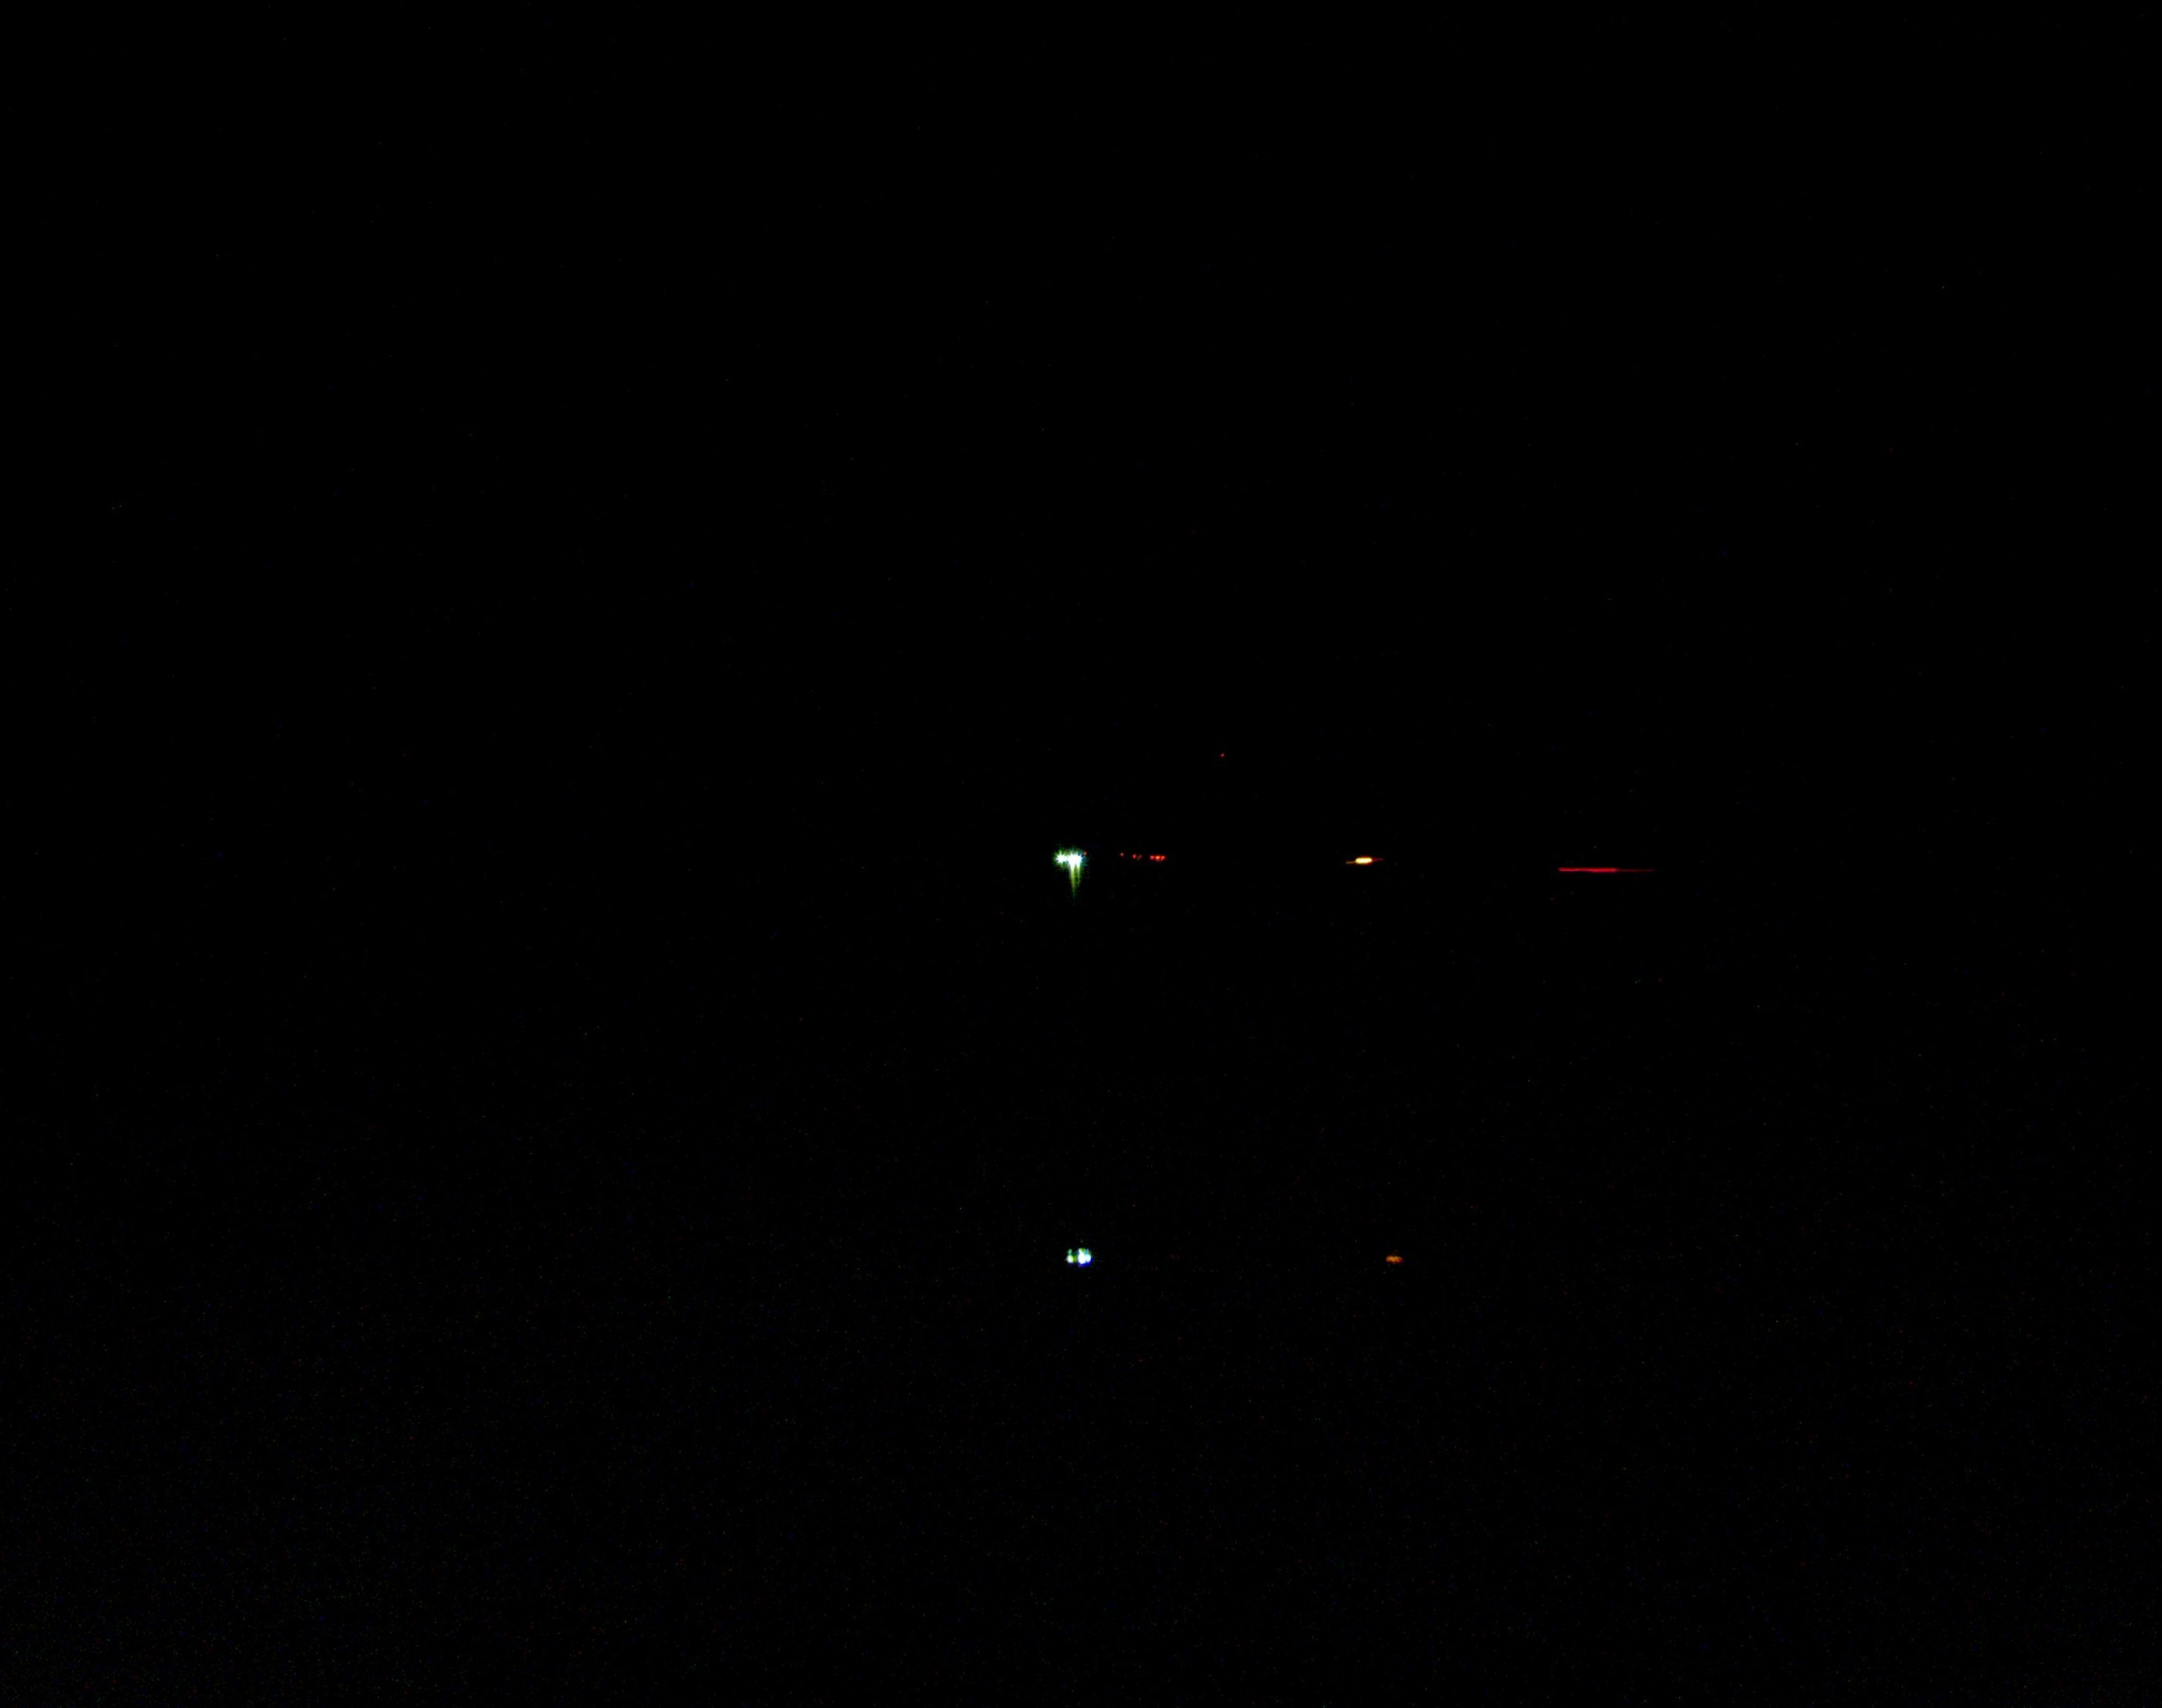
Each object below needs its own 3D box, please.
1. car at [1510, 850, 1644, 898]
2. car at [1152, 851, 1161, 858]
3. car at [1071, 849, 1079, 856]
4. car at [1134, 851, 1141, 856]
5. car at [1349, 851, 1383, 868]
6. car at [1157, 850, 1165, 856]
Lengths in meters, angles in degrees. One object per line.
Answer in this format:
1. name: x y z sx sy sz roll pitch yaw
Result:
1. car: 19.543 0.716 30.292 2.014 1.641 5.109 -2 1 0
2. car: 18.952 0.207 191.202 1.859 1.609 3.999 -2 1 1
3. car: -1.537 -0.338 197.504 1.859 1.608 3.999 -1 1 1
4. car: 17.301 -0.133 232.946 1.859 1.609 3.999 -2 1 1
5. car: 27.183 0.468 72.610 1.796 1.471 3.999 -2 1 1
6. car: 21.988 -0.349 208.575 1.859 1.609 3.999 -2 1 1
